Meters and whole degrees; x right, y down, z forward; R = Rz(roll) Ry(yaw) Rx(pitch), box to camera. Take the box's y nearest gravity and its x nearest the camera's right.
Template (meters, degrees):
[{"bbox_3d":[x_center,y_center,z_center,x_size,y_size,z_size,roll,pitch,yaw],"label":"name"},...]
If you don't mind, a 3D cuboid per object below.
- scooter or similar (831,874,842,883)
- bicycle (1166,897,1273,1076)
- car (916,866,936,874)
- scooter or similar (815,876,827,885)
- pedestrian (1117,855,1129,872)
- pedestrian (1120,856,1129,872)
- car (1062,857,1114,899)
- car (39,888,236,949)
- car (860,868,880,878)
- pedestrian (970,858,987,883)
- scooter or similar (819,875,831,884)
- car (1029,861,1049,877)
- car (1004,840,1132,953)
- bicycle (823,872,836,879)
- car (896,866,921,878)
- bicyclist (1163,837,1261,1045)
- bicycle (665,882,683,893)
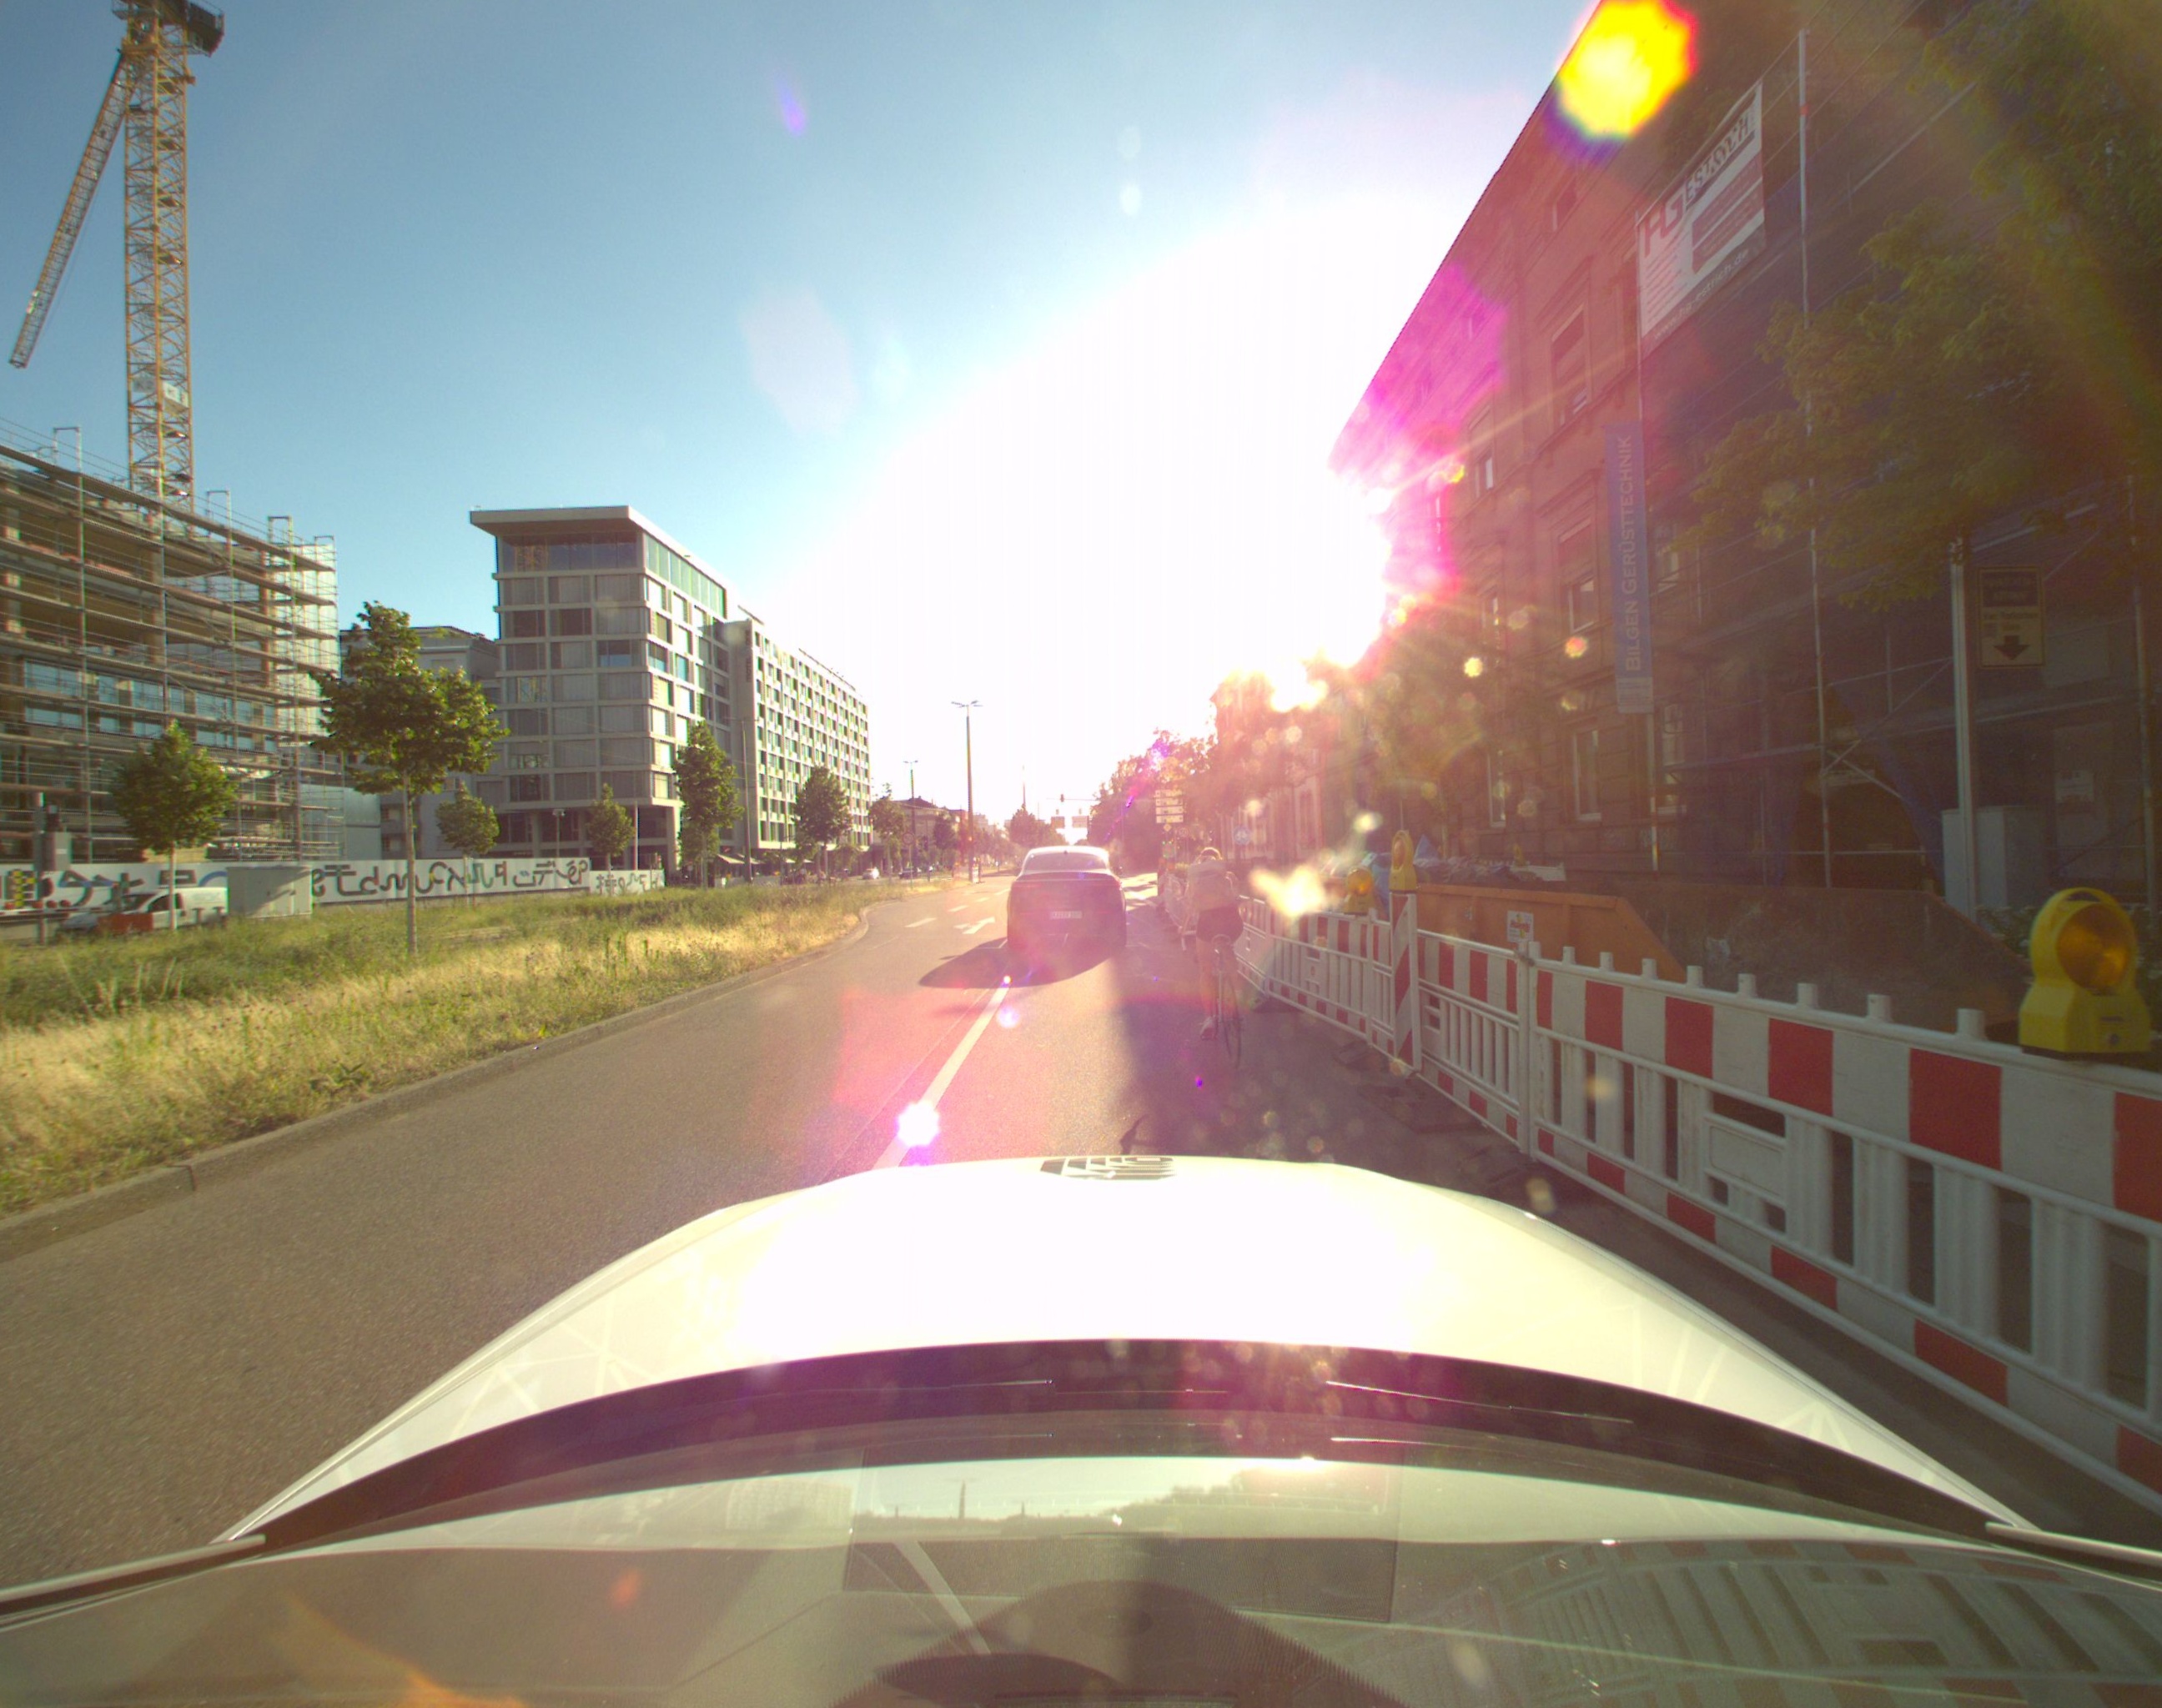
[{"bbox_3d":[-31.093,3.108,103.740,1.239,1.019,0.435,-3,-1,1],"label":"scooter or similar"},{"bbox_3d":[1.043,0.958,6.502,0.519,1.097,1.843,-2,0,1],"label":"bicycle"},{"bbox_3d":[-30.905,3.184,162.127,3.644,1.523,1.601,0,-1,-41],"label":"car"},{"bbox_3d":[-31.202,3.171,97.668,1.239,1.019,0.511,-3,-1,1],"label":"scooter or similar"},{"bbox_3d":[4.482,1.005,87.030,0.863,1.802,0.897,-4,0,-34],"label":"pedestrian"},{"bbox_3d":[4.589,1.069,86.207,0.766,1.636,0.767,-4,0,-9],"label":"pedestrian"},{"bbox_3d":[0.261,0.909,32.584,1.891,1.527,4.058,-2,0,0],"label":"car"},{"bbox_3d":[-29.784,1.977,25.902,1.597,1.558,3.845,-3,0,3],"label":"car"},{"bbox_3d":[-30.904,2.797,119.202,1.751,1.328,4.000,-1,0,1],"label":"car"},{"bbox_3d":[-7.158,1.157,56.796,0.918,1.649,0.768,-2,-1,12],"label":"pedestrian"},{"bbox_3d":[-31.216,3.083,99.195,1.239,1.019,0.435,-3,-1,1],"label":"scooter or similar"},{"bbox_3d":[-4.355,1.527,84.453,1.880,1.580,3.999,-1,0,0],"label":"car"},{"bbox_3d":[-0.349,0.665,14.885,1.990,1.734,3.994,-1,0,-5],"label":"car"},{"bbox_3d":[-38.276,3.242,123.948,1.802,0.905,0.511,-2,-1,-6],"label":"bicycle"},{"bbox_3d":[-20.735,2.173,98.061,1.885,1.343,4.849,-2,0,0],"label":"car"},{"bbox_3d":[1.004,0.634,6.463,0.550,1.491,1.081,-2,0,0],"label":"bicyclist"},{"bbox_3d":[-39.434,3.217,78.866,0.616,0.936,2.216,-2,0,0],"label":"bicycle"}]
